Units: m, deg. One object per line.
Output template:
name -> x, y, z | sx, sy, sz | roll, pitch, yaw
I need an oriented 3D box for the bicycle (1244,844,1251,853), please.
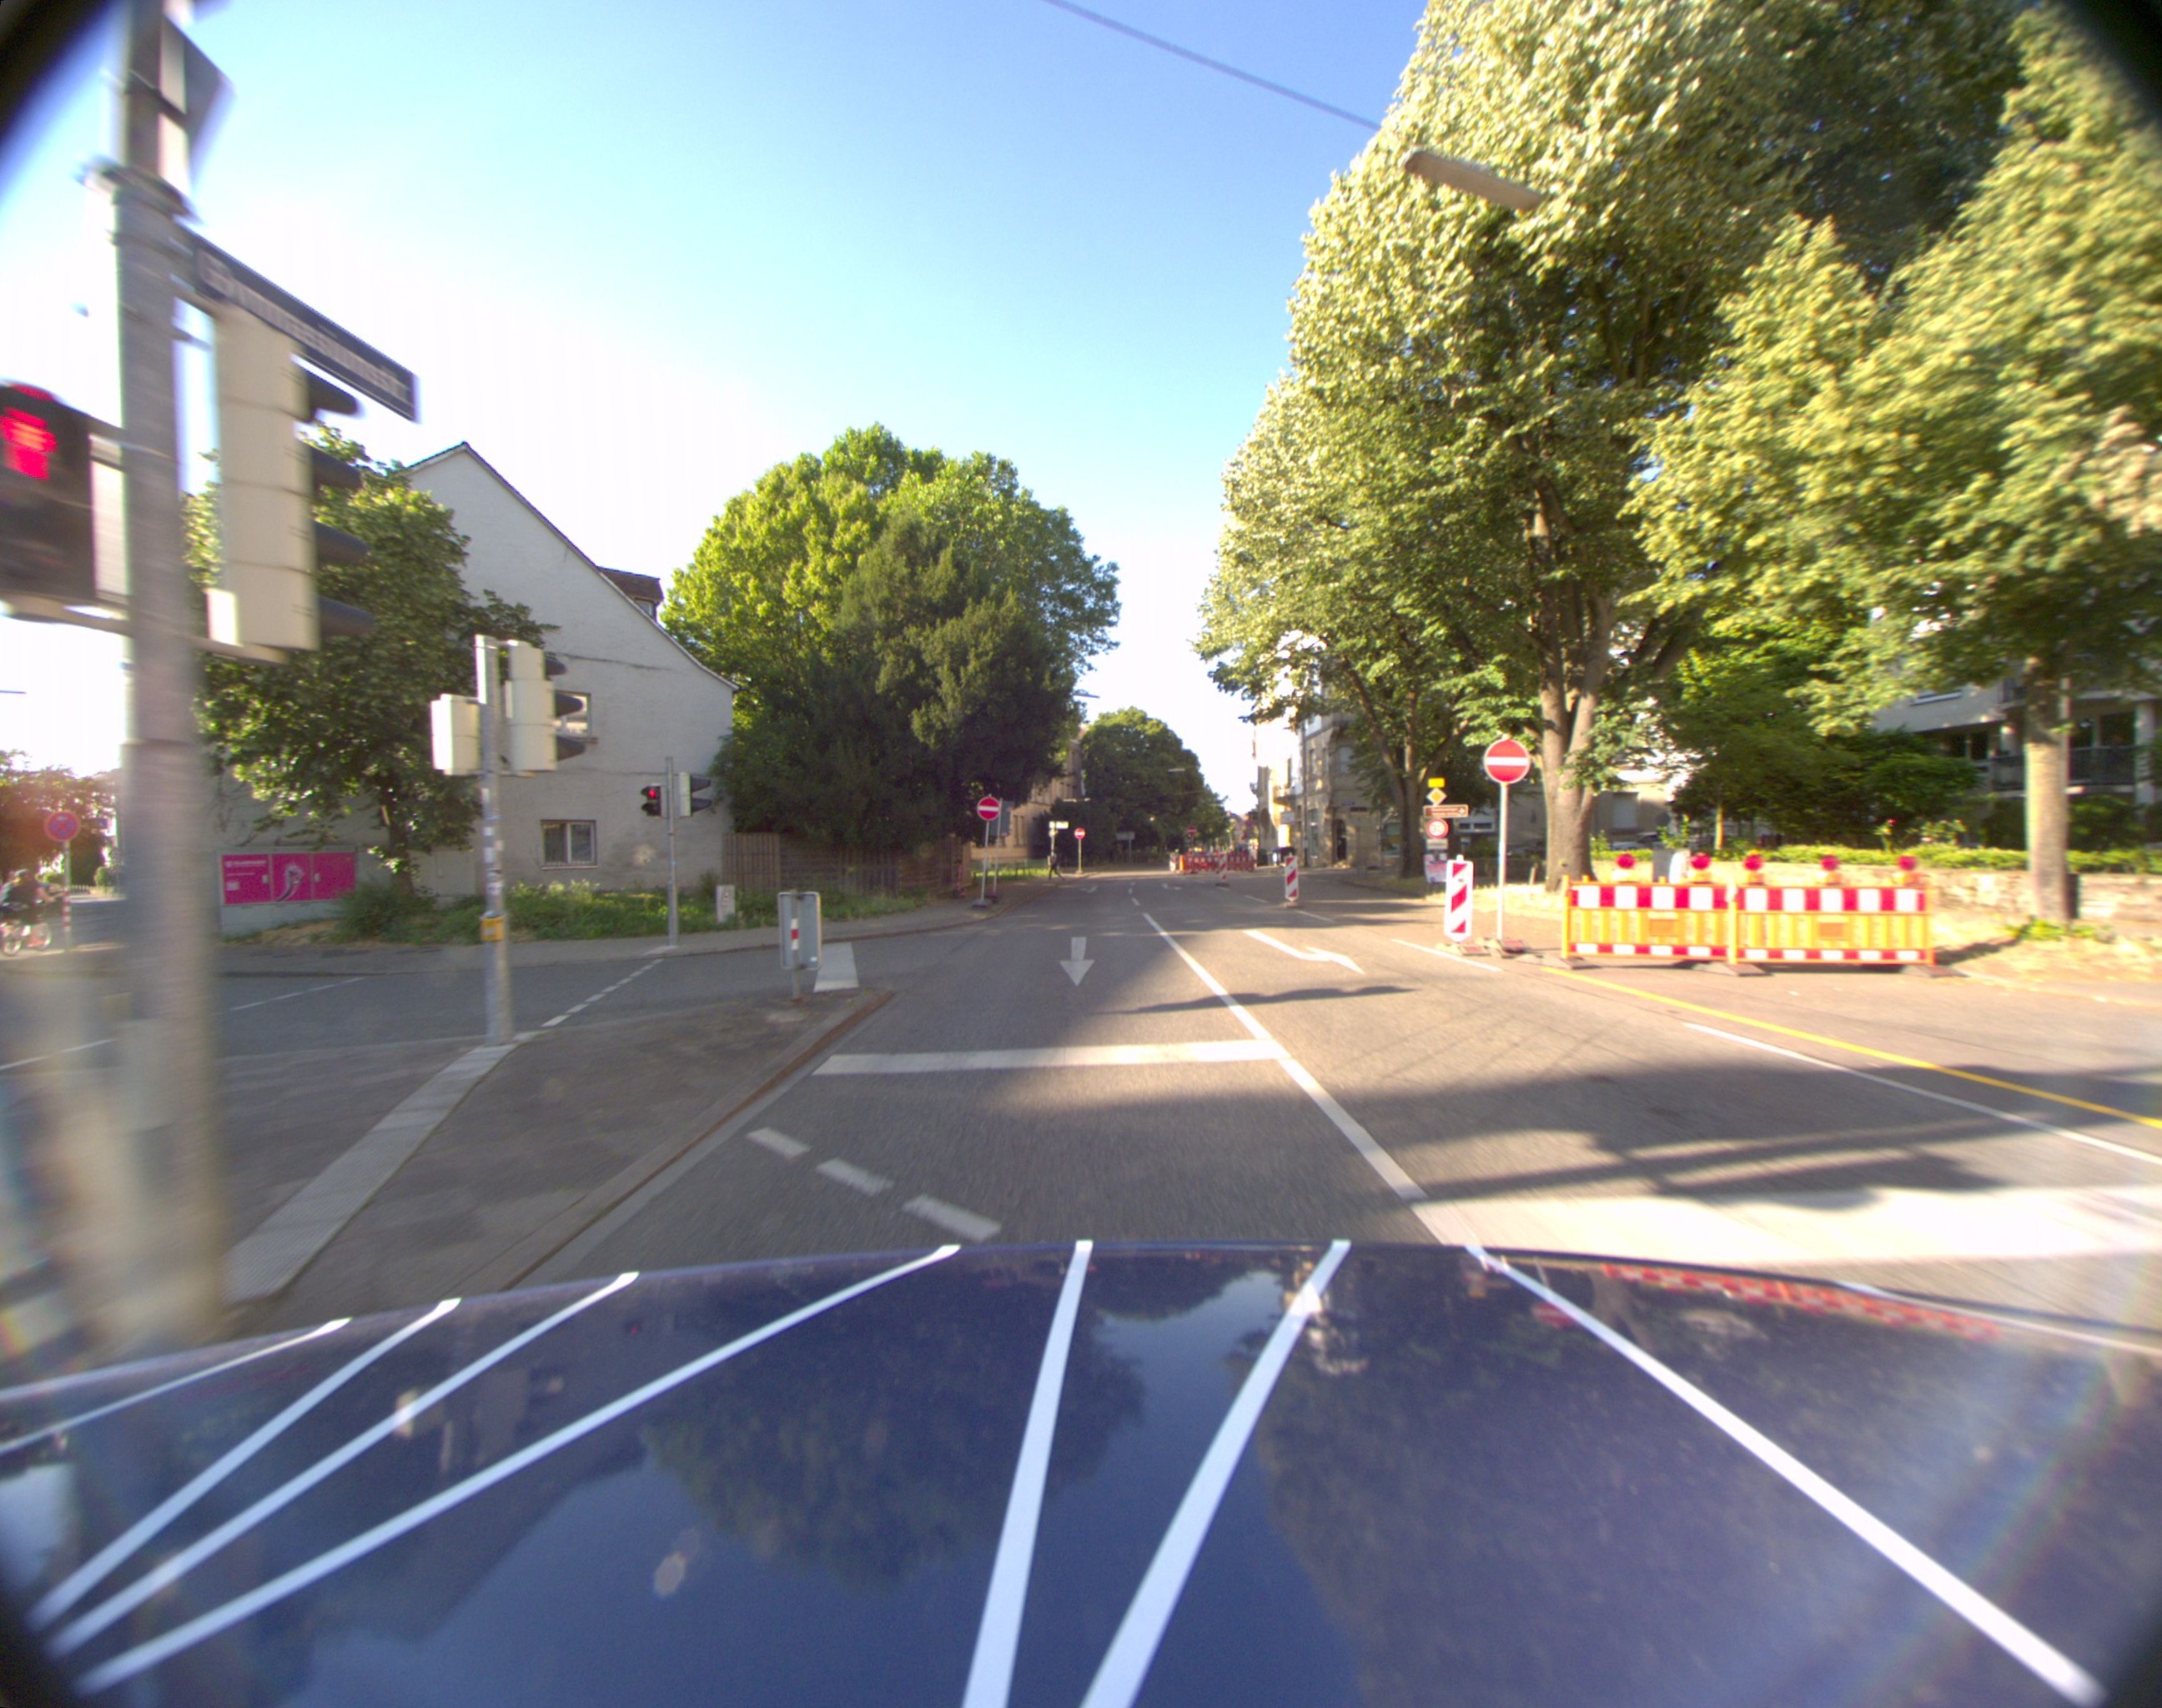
bicycle -> 17.080, -0.585, 77.955 | 0.601, 0.927, 1.474 | -3, 0, 9

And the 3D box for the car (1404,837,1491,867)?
car -> 20.563, -0.117, 42.770 | 3.995, 1.543, 2.000 | -1, 1, 4

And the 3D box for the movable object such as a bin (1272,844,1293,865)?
movable object such as a bin -> 14.549, 0.028, 55.016 | 1.085, 1.423, 1.407 | -3, 0, -1

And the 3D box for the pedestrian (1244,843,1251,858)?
pedestrian -> 17.097, -0.333, 77.892 | 0.599, 1.547, 0.616 | -2, 1, 9

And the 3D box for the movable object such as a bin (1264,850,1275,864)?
movable object such as a bin -> 14.352, 0.241, 57.760 | 0.637, 1.035, 0.764 | -2, 1, 4

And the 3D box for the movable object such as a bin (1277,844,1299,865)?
movable object such as a bin -> 14.560, 0.041, 53.442 | 1.085, 1.423, 1.345 | -3, 0, -1

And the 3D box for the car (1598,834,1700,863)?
car -> 30.801, -0.298, 41.284 | 3.995, 1.477, 2.000 | -1, 0, 4

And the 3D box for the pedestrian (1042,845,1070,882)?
pedestrian -> -1.213, 0.446, 37.084 | 1.045, 1.771, 1.192 | -1, 1, 10

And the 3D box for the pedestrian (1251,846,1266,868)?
pedestrian -> 13.431, 0.232, 57.653 | 0.823, 1.594, 0.917 | -3, 1, -4

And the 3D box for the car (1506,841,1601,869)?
car -> 25.966, 0.045, 41.860 | 3.995, 1.477, 2.000 | -1, 0, 4

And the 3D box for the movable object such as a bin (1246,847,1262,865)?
movable object such as a bin -> 14.277, 0.142, 62.679 | 1.083, 1.423, 1.409 | -2, 1, 20

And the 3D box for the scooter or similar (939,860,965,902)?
scooter or similar -> -3.910, 0.805, 23.029 | 0.439, 1.195, 1.259 | 2, 1, 6

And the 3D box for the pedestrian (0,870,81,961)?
pedestrian -> -22.207, 1.271, 16.000 | 0.959, 1.827, 1.286 | -3, 1, -34
